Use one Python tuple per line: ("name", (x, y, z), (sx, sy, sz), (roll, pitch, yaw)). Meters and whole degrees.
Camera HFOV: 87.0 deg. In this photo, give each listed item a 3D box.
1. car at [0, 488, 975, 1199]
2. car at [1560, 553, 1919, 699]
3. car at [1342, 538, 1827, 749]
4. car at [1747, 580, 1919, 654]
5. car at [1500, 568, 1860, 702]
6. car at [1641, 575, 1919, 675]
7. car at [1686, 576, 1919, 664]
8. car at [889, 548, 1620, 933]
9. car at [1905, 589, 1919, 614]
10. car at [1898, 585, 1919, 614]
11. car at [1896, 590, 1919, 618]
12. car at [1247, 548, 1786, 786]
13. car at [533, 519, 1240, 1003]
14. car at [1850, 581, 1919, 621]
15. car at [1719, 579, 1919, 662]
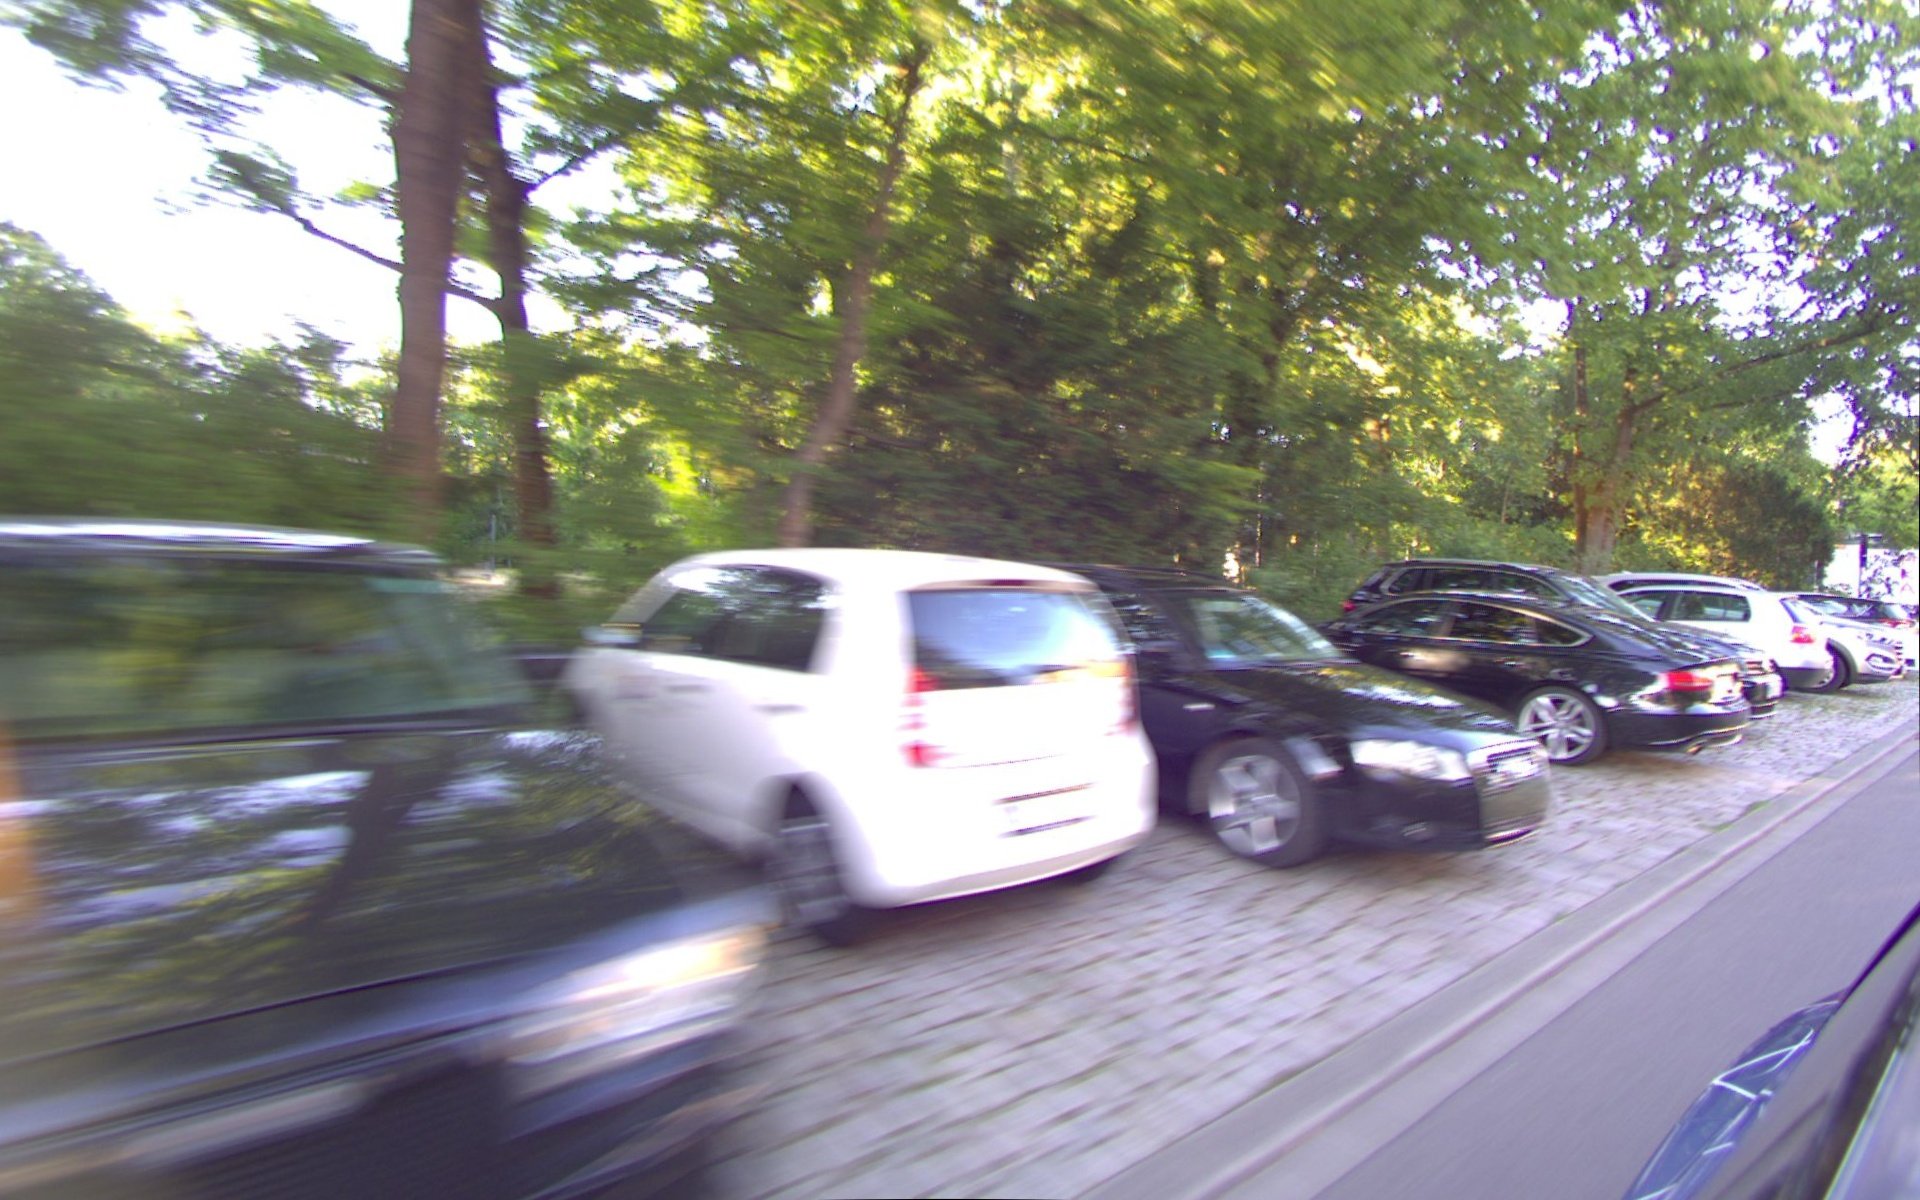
("car", (-2.146, 0.473, 2.742), (1.987, 1.466, 4.251), (0, 4, -42))
("car", (12.278, 0.275, 16.007), (2.000, 1.826, 4.317), (0, 4, -41))
("car", (6.856, 0.299, 11.521), (1.850, 1.810, 4.256), (0, 4, -40))
("car", (21.929, 0.412, 24.700), (1.695, 1.573, 3.996), (2, 2, -40))
("car", (10.434, 0.392, 14.923), (1.695, 1.573, 3.996), (0, 3, -40))
("car", (16.266, 0.388, 19.816), (1.824, 1.573, 4.495), (-2, 4, -40))
("car", (18.099, 0.377, 21.494), (1.721, 1.573, 3.996), (2, 2, -40))
("car", (1.418, 0.497, 6.338), (1.699, 1.466, 4.172), (0, 4, -37))
("car", (65.366, 0.253, 66.597), (1.697, 1.572, 4.374), (0, 5, -41))
("car", (63.407, 0.079, 64.963), (1.887, 1.801, 4.374), (0, 5, -41))
("car", (57.829, 0.381, 59.135), (1.887, 1.555, 4.374), (0, 5, -41))
("car", (4.921, 0.411, 9.437), (1.695, 1.573, 3.997), (0, 5, -40))
("car", (-0.730, 0.379, 5.173), (1.792, 1.466, 3.821), (0, 4, -37))
("car", (51.994, 0.118, 55.215), (1.882, 1.938, 4.864), (0, 5, -41))
("car", (19.647, 0.436, 22.605), (1.695, 1.573, 3.996), (2, 2, -40))
